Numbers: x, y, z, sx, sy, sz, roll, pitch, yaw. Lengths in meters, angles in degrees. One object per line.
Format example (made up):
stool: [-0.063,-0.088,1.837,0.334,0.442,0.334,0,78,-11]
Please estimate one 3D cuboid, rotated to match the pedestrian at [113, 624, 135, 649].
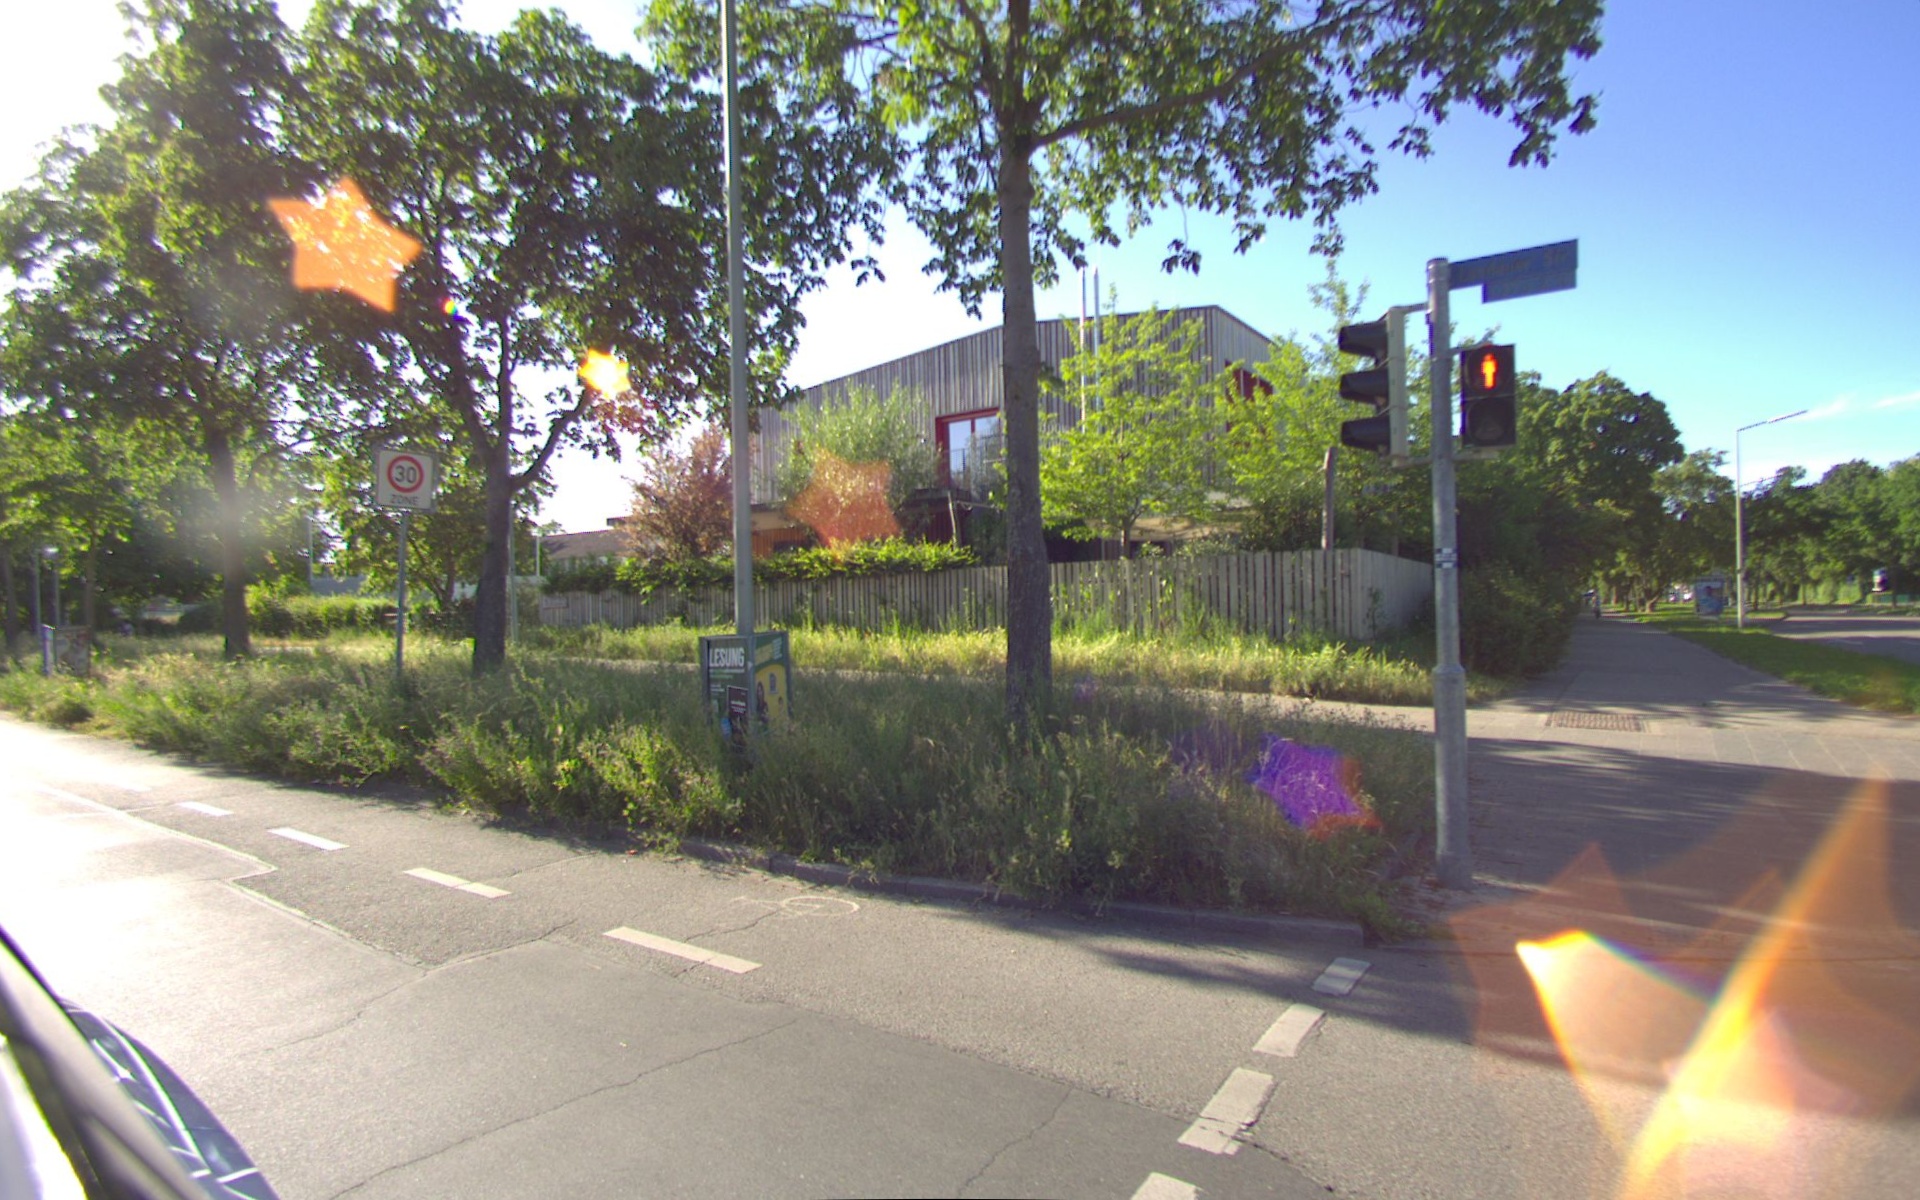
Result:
pedestrian: [-40.579,1.786,49.117,0.520,1.166,0.632,-1,2,35]
